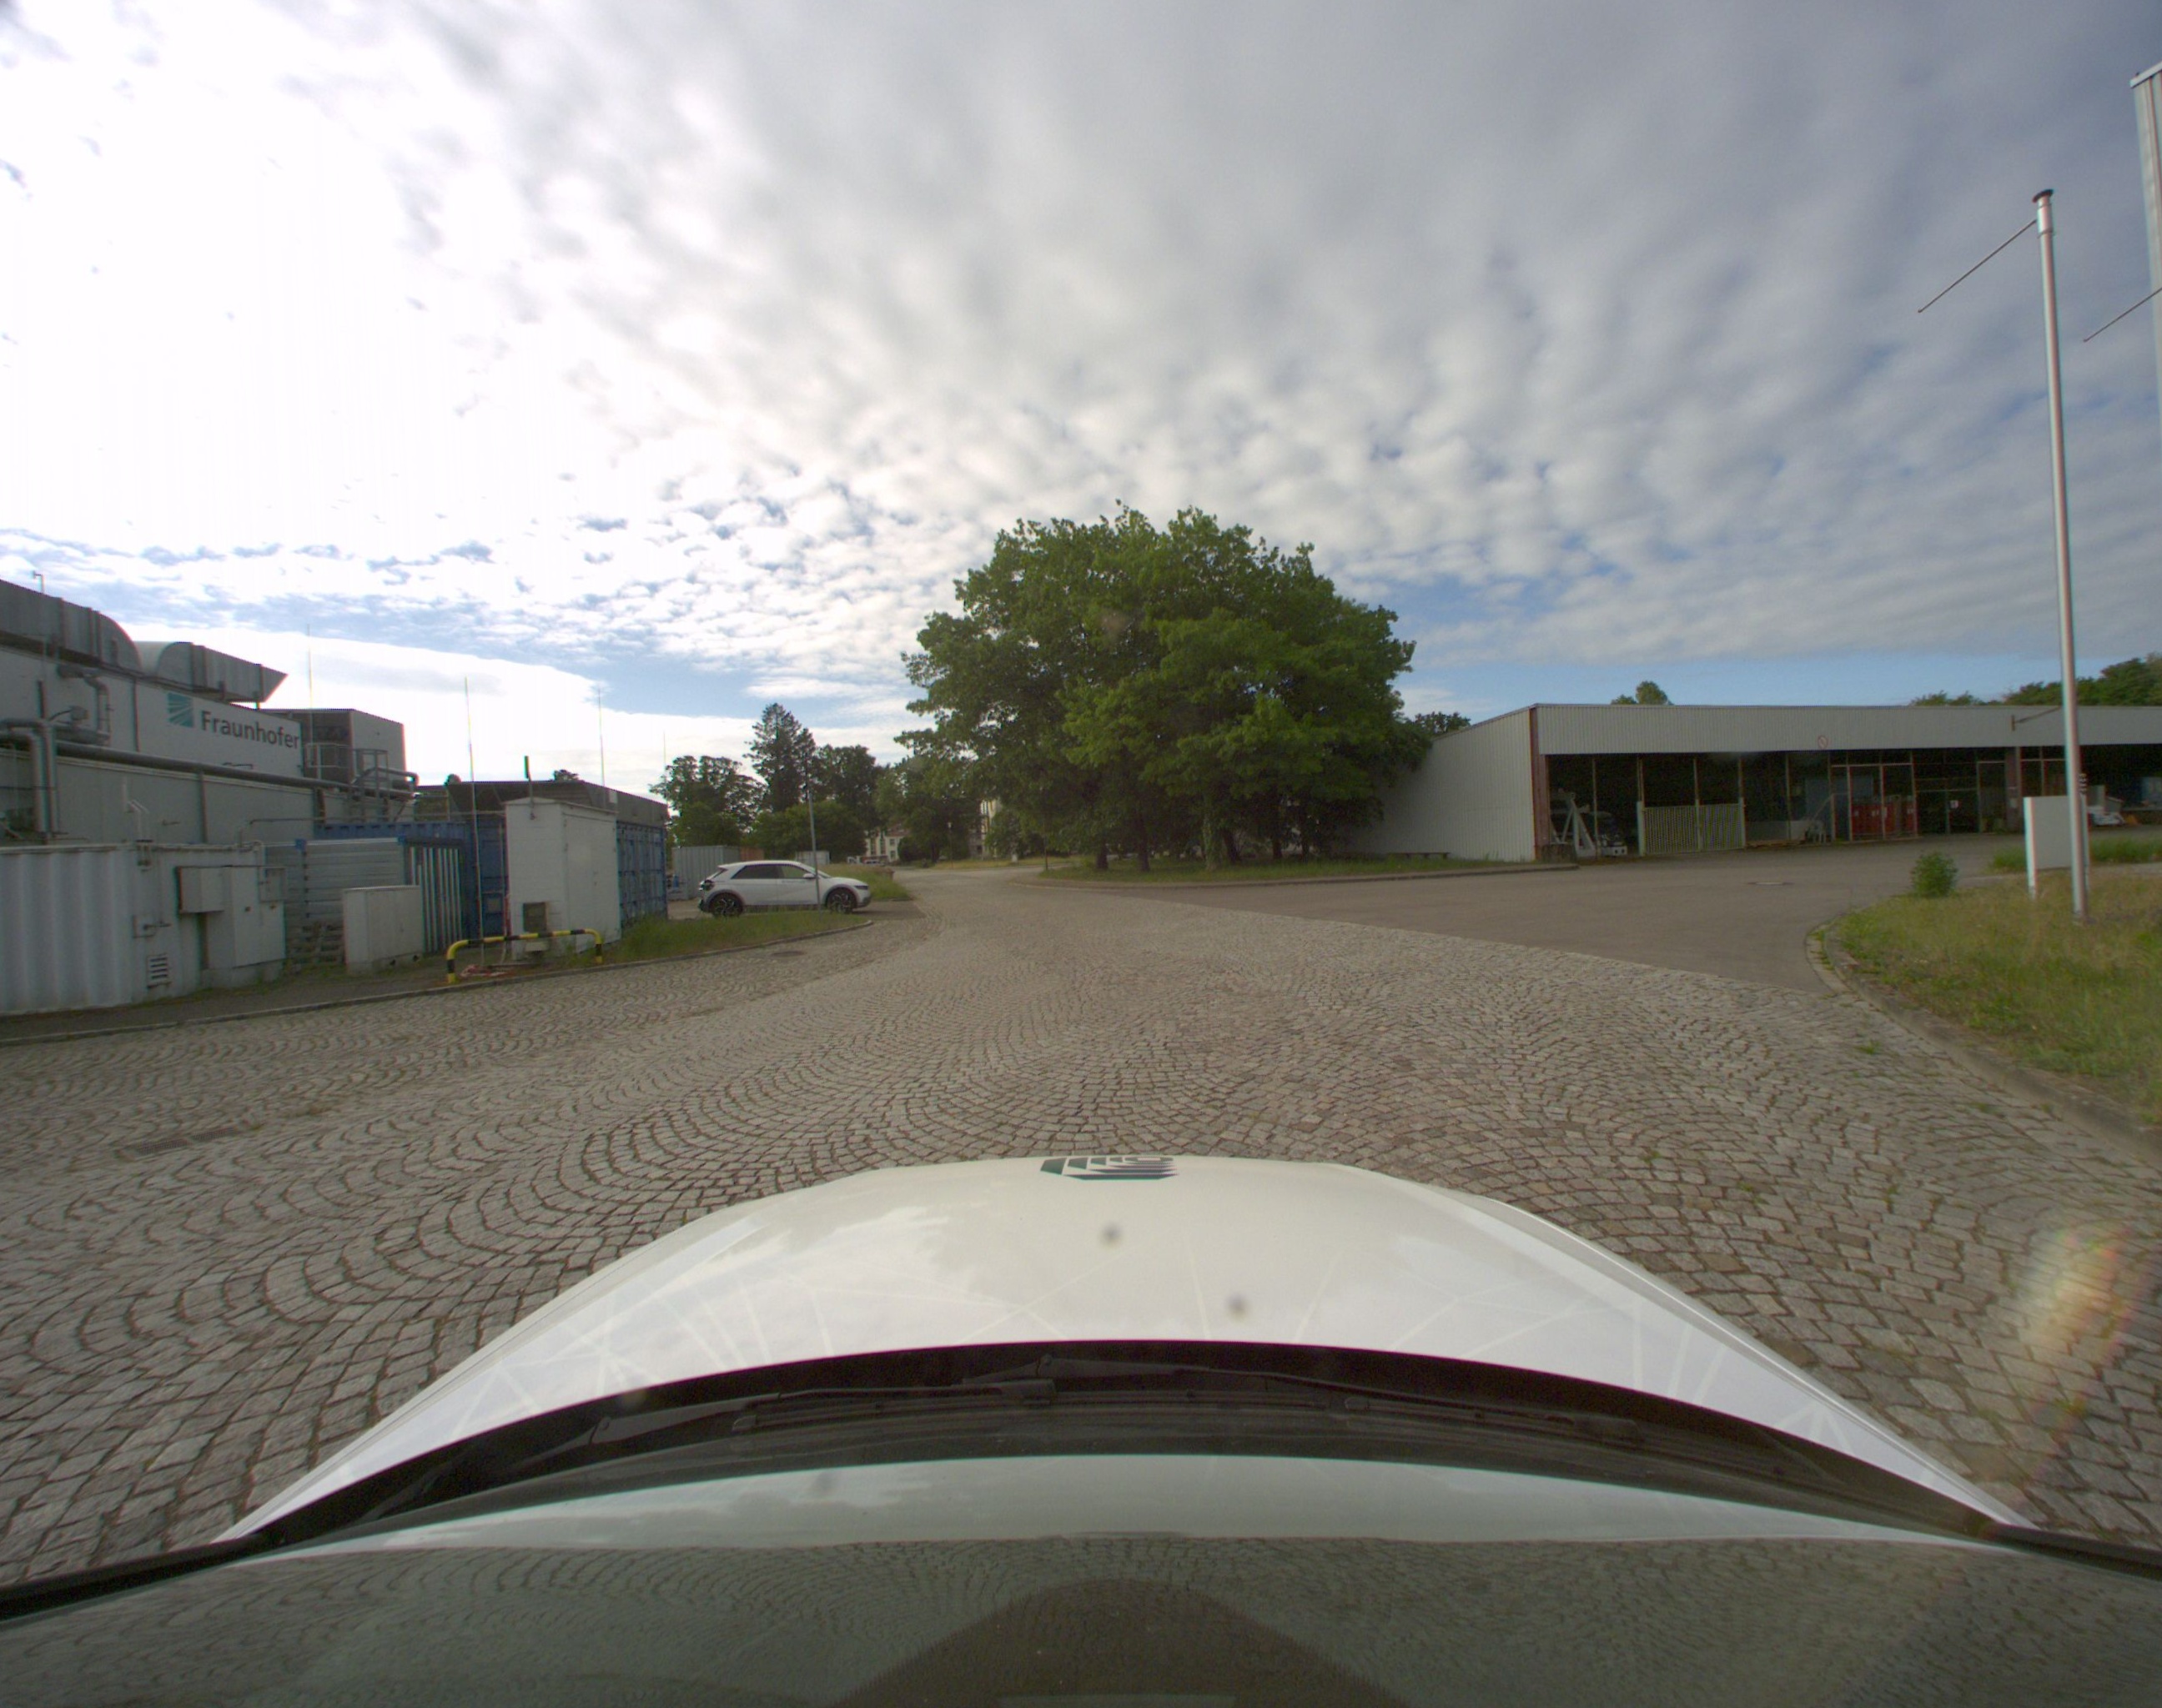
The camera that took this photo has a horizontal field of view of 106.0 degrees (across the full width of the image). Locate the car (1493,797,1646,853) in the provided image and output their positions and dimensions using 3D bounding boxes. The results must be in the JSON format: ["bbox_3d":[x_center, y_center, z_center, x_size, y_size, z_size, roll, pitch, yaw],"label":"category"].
[{"bbox_3d":[20.278,-1.150,34.151,2.246,2.013,5.306,-3,0,-16],"label":"car"}]

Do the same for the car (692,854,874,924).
[{"bbox_3d":[-8.286,0.934,23.085,4.540,1.599,1.991,-3,0,-13],"label":"car"}]

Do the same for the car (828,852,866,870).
[{"bbox_3d":[-34.663,0.982,120.648,5.182,2.337,1.989,-3,0,-16],"label":"car"}]
